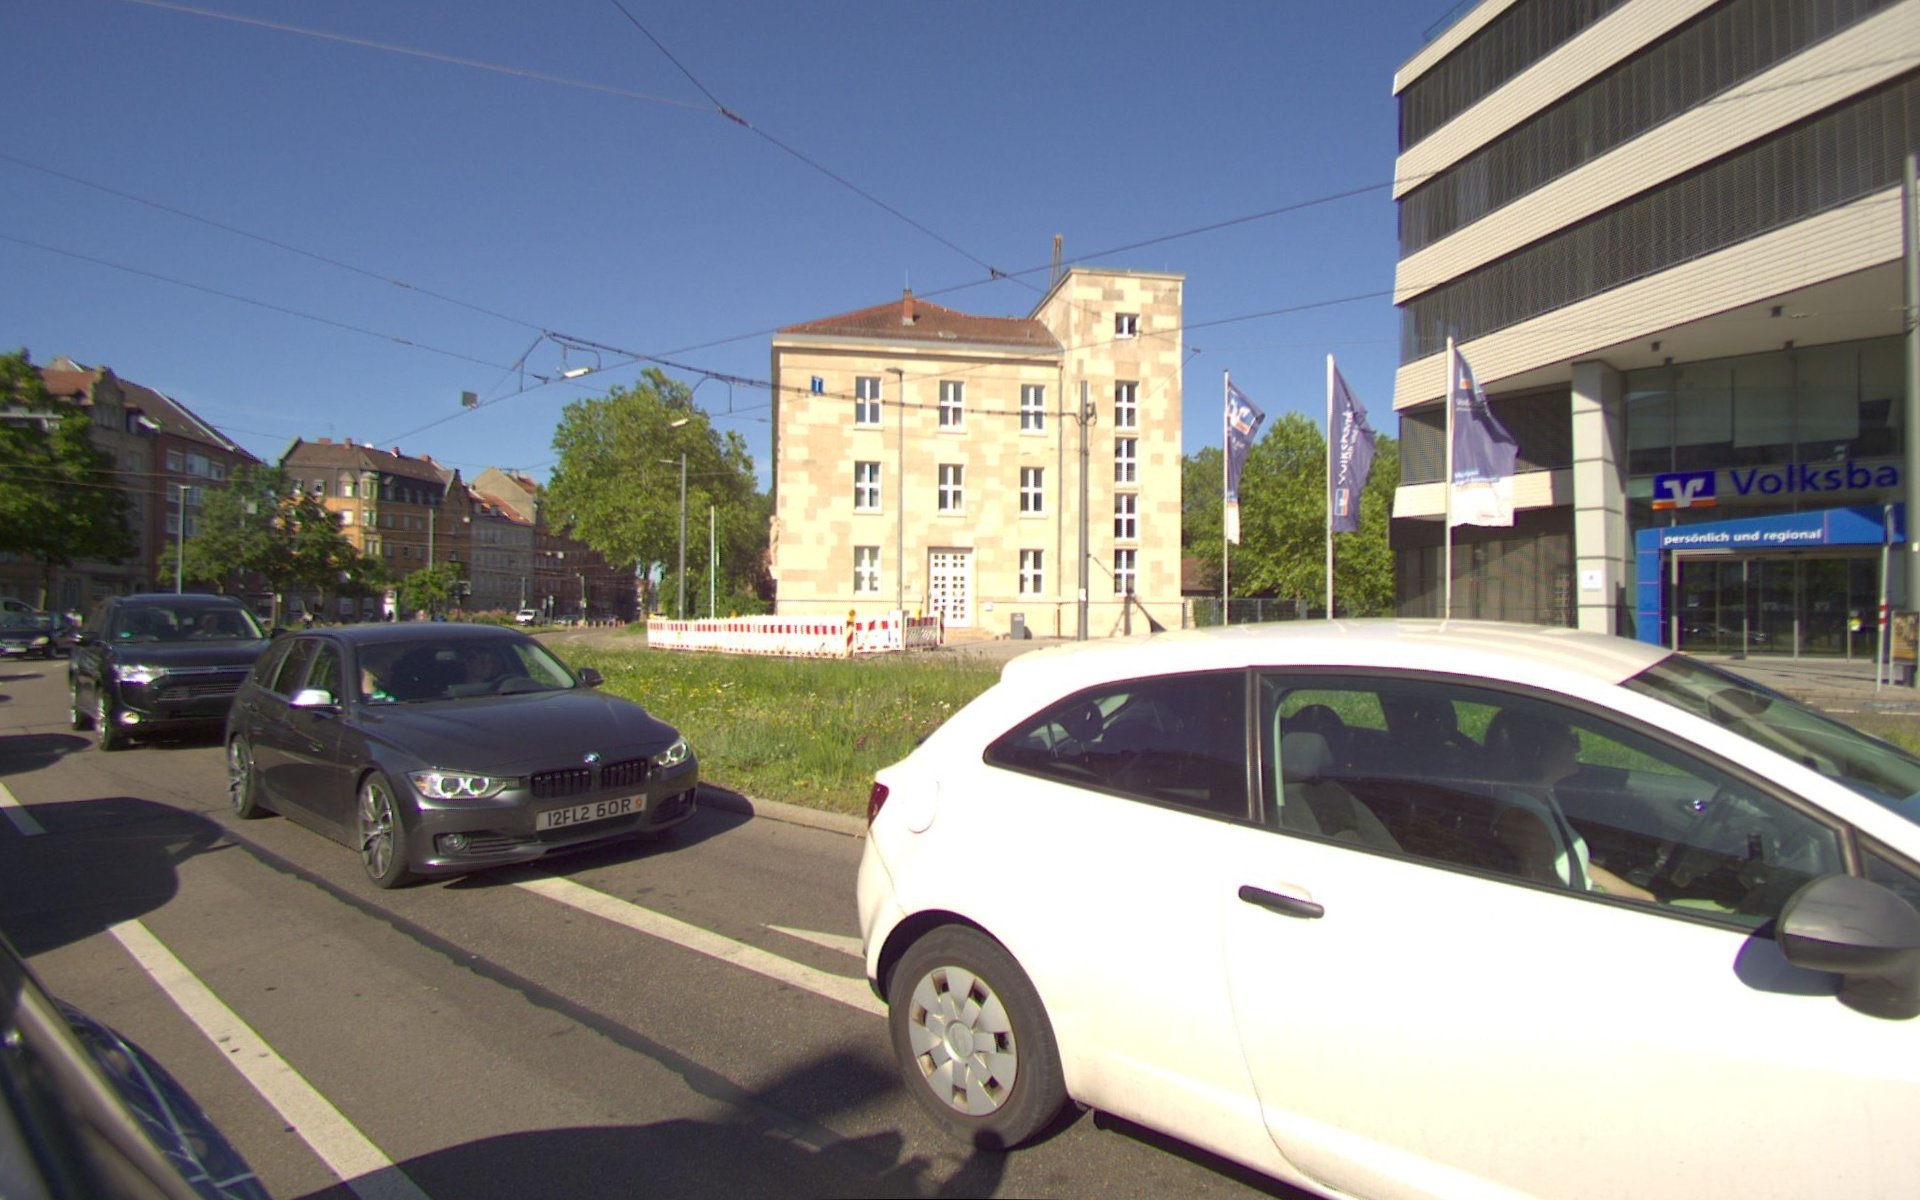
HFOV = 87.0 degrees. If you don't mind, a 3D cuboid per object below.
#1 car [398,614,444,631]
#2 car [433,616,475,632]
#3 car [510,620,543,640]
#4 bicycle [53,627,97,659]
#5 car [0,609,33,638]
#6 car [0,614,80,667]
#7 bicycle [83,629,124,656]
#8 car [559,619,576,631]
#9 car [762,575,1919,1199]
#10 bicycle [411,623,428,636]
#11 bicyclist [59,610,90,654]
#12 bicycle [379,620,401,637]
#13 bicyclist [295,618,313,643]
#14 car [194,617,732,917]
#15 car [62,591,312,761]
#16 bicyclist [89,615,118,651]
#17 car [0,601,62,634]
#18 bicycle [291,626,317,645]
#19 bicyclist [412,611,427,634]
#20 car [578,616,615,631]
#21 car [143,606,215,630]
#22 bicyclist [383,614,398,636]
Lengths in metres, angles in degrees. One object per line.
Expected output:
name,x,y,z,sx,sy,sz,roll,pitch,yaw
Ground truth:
car,-62.088,2.630,116.670,4.276,1.896,1.846,1,-1,-15
car,-57.639,2.748,115.339,4.002,1.669,1.771,1,-1,-13
car,-48.549,3.333,113.448,1.953,2.101,4.719,1,-1,-5
bicycle,-38.079,1.827,43.563,0.745,1.310,2.161,1,-1,-23
car,-48.763,1.154,50.390,3.768,1.390,1.602,2,-2,-41
car,-31.013,1.309,33.640,1.809,1.659,4.161,2,-1,-29
bicycle,-39.065,1.916,46.205,0.627,1.206,2.161,0,-1,-17
car,-51.008,3.275,131.474,1.809,1.483,4.728,1,-1,-19
car,1.482,0.696,2.482,4.020,1.452,1.714,0,2,40
bicycle,-48.304,2.662,90.480,0.752,1.153,2.288,0,-1,-11
bicyclist,-38.122,1.362,43.580,0.796,1.880,0.752,1,0,-23
bicycle,-46.395,2.329,82.397,0.726,1.371,2.078,0,-1,-6
bicyclist,-43.451,2.029,66.998,0.658,1.641,0.973,0,-1,-11
car,-3.597,0.829,6.882,4.424,1.377,1.719,-1,0,41
car,-9.379,0.774,12.133,1.817,1.658,4.400,-1,-1,-45
bicyclist,-39.076,1.509,46.185,0.620,1.641,0.974,0,-1,-16
car,-49.928,0.894,52.796,4.514,1.680,1.601,2,-2,-43
bicycle,-43.471,2.339,67.059,0.658,1.206,2.158,0,-1,-10
bicyclist,-48.328,1.987,90.516,0.836,2.029,1.199,0,-1,-10
car,-42.783,2.767,119.161,4.001,1.669,1.772,1,-1,-16
car,-53.928,1.277,69.878,3.771,1.603,1.601,2,-2,-44
bicyclist,-46.359,2.032,82.399,0.724,1.707,0.972,0,-1,-6
